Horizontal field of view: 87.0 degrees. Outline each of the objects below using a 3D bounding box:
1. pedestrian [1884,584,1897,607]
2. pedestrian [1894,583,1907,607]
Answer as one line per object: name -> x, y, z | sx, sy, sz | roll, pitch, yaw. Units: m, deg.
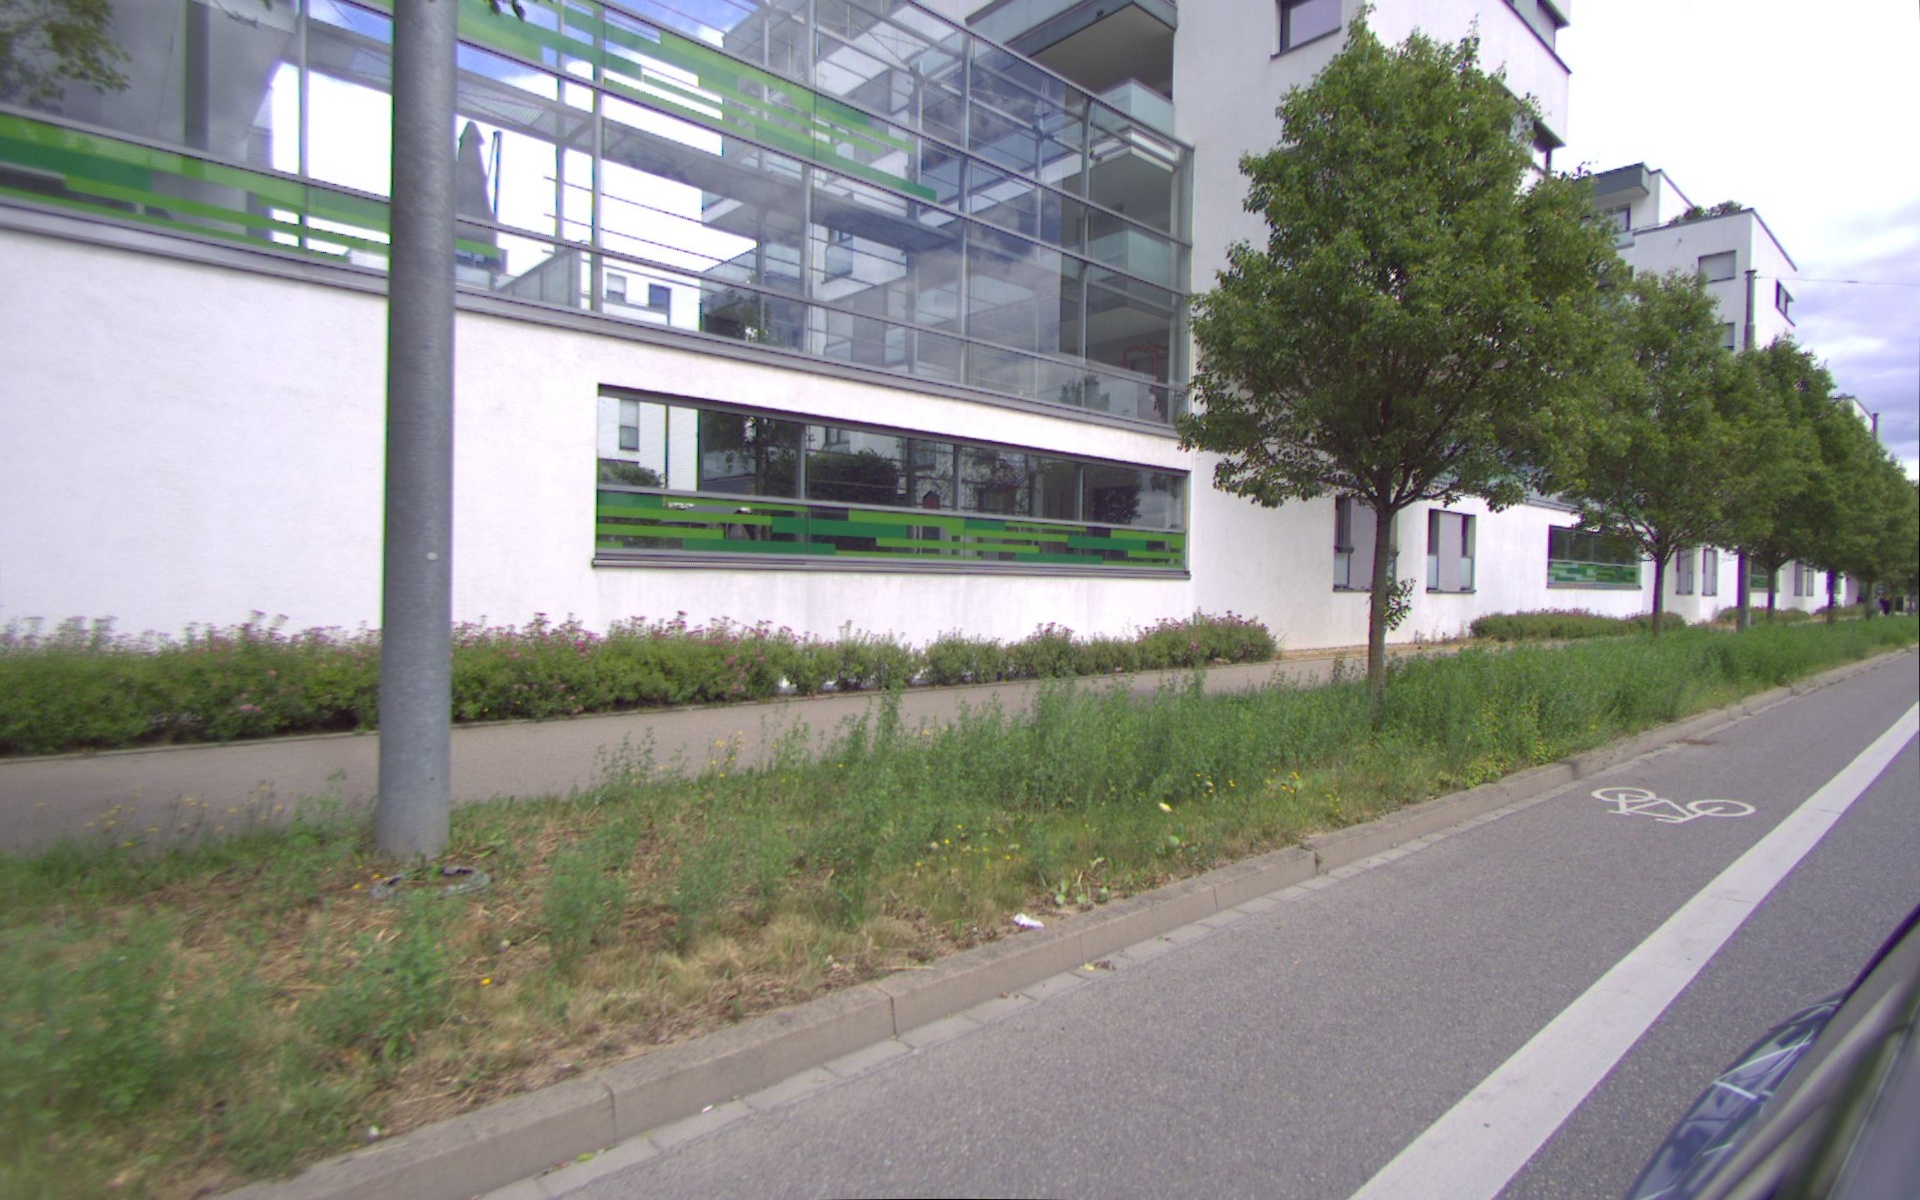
pedestrian -> 74.177, -0.350, 80.675 | 0.612, 1.864, 0.585 | -1, 0, 21
pedestrian -> 74.367, -0.378, 80.009 | 0.740, 1.910, 0.691 | -1, 0, 44
